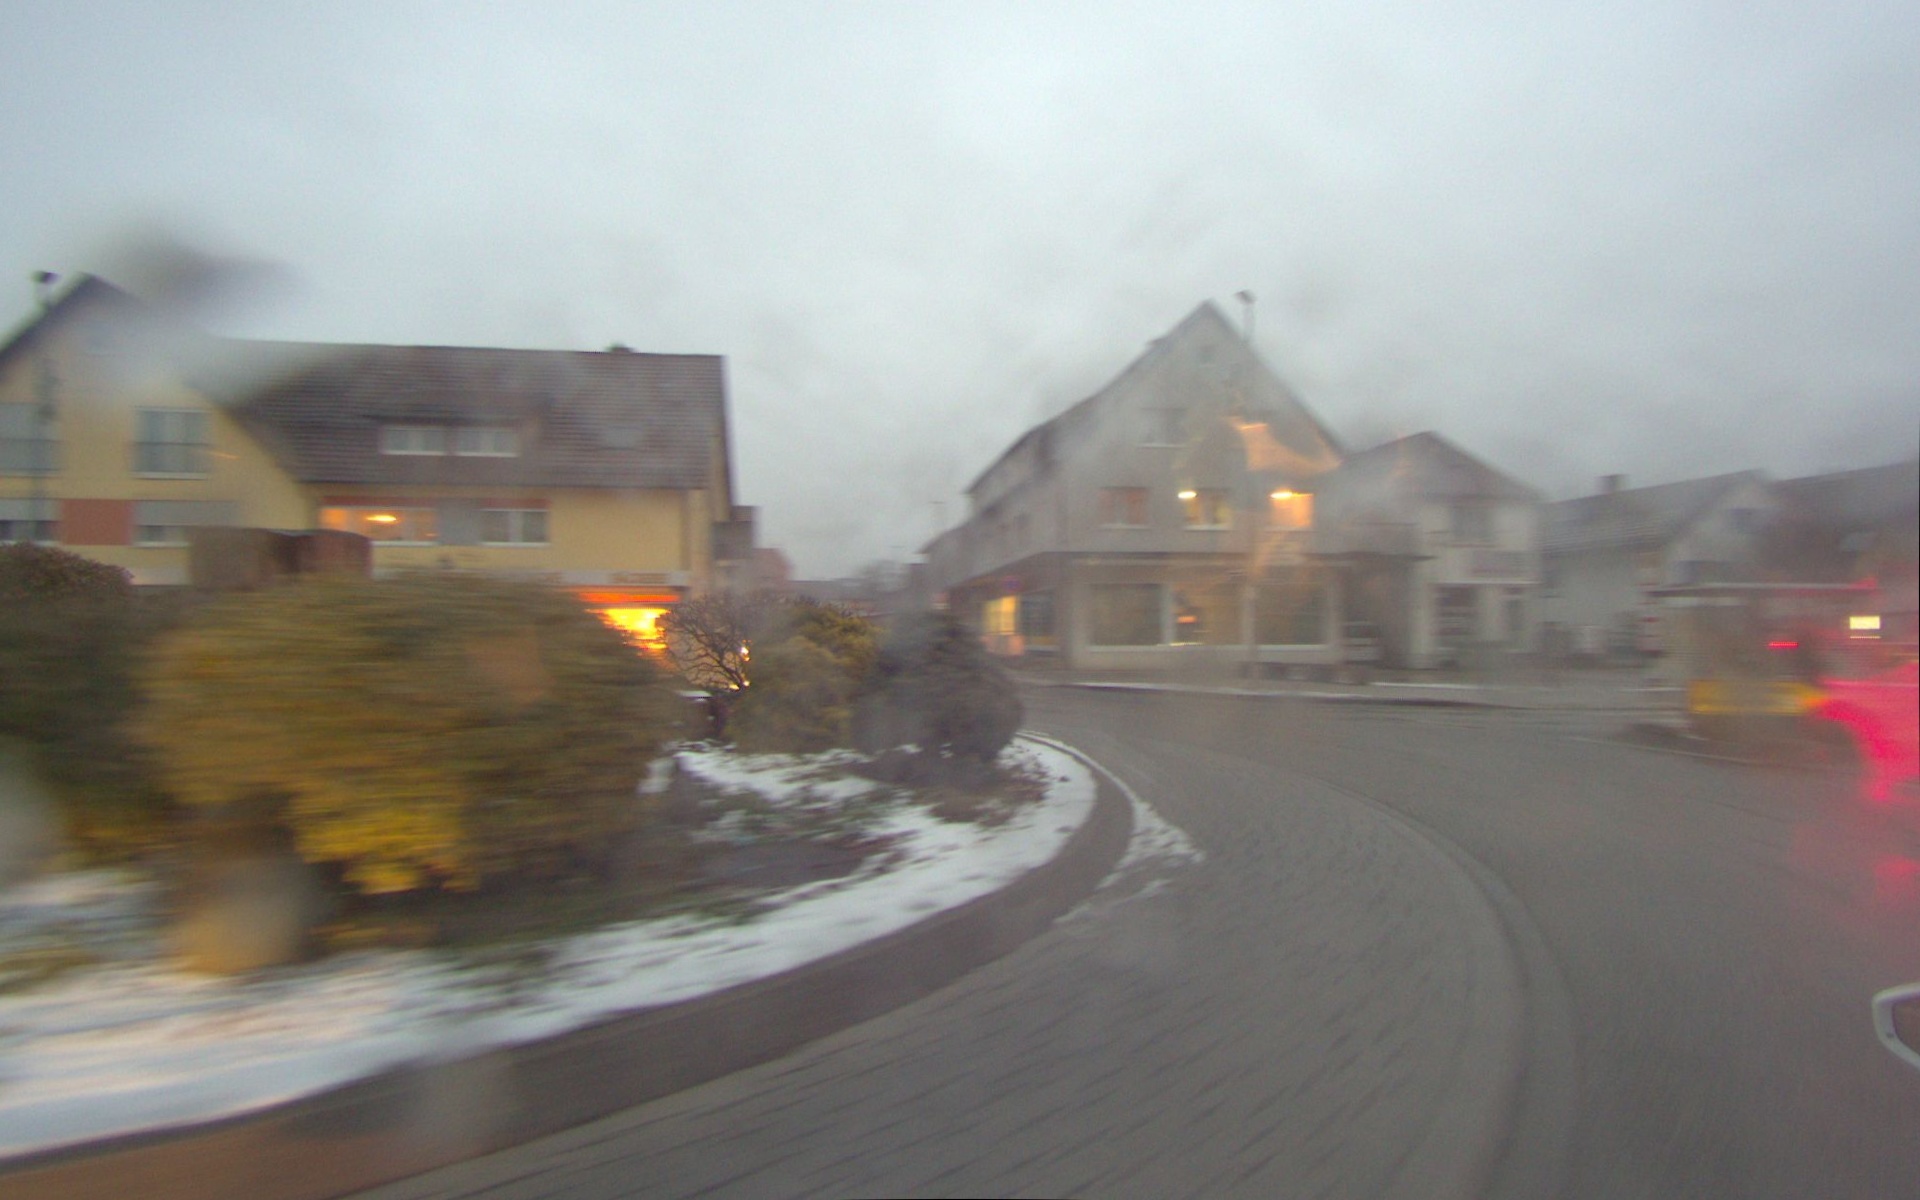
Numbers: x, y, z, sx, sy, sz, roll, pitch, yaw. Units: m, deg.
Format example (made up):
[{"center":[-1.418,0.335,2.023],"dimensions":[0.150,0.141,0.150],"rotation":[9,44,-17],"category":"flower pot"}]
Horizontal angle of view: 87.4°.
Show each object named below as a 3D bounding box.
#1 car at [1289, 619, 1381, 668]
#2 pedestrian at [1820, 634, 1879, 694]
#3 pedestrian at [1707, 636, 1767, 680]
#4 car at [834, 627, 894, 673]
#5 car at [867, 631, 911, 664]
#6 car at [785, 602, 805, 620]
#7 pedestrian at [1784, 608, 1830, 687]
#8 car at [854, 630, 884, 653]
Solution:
[{"center":[14.678,1.670,39.509],"dimensions":[1.775,1.821,3.997],"rotation":[-1,-1,-6],"category":"car"},{"center":[21.007,1.489,23.726],"dimensions":[0.705,1.366,0.783],"rotation":[0,-1,-18],"category":"pedestrian"},{"center":[18.616,1.379,24.081],"dimensions":[0.799,1.024,0.860],"rotation":[0,-1,-22],"category":"pedestrian"},{"center":[-3.307,1.650,34.126],"dimensions":[1.739,1.422,3.909],"rotation":[-1,-1,-10],"category":"car"},{"center":[-3.750,2.443,52.626],"dimensions":[1.905,1.639,3.859],"rotation":[-1,-1,-10],"category":"car"},{"center":[-16.709,1.119,101.409],"dimensions":[1.846,1.705,3.992],"rotation":[-1,-1,-12],"category":"car"},{"center":[19.914,1.108,23.623],"dimensions":[0.527,1.842,0.722],"rotation":[0,-2,-41],"category":"pedestrian"},{"center":[-6.864,3.074,75.501],"dimensions":[1.905,1.639,3.859],"rotation":[-1,-1,-10],"category":"car"}]
